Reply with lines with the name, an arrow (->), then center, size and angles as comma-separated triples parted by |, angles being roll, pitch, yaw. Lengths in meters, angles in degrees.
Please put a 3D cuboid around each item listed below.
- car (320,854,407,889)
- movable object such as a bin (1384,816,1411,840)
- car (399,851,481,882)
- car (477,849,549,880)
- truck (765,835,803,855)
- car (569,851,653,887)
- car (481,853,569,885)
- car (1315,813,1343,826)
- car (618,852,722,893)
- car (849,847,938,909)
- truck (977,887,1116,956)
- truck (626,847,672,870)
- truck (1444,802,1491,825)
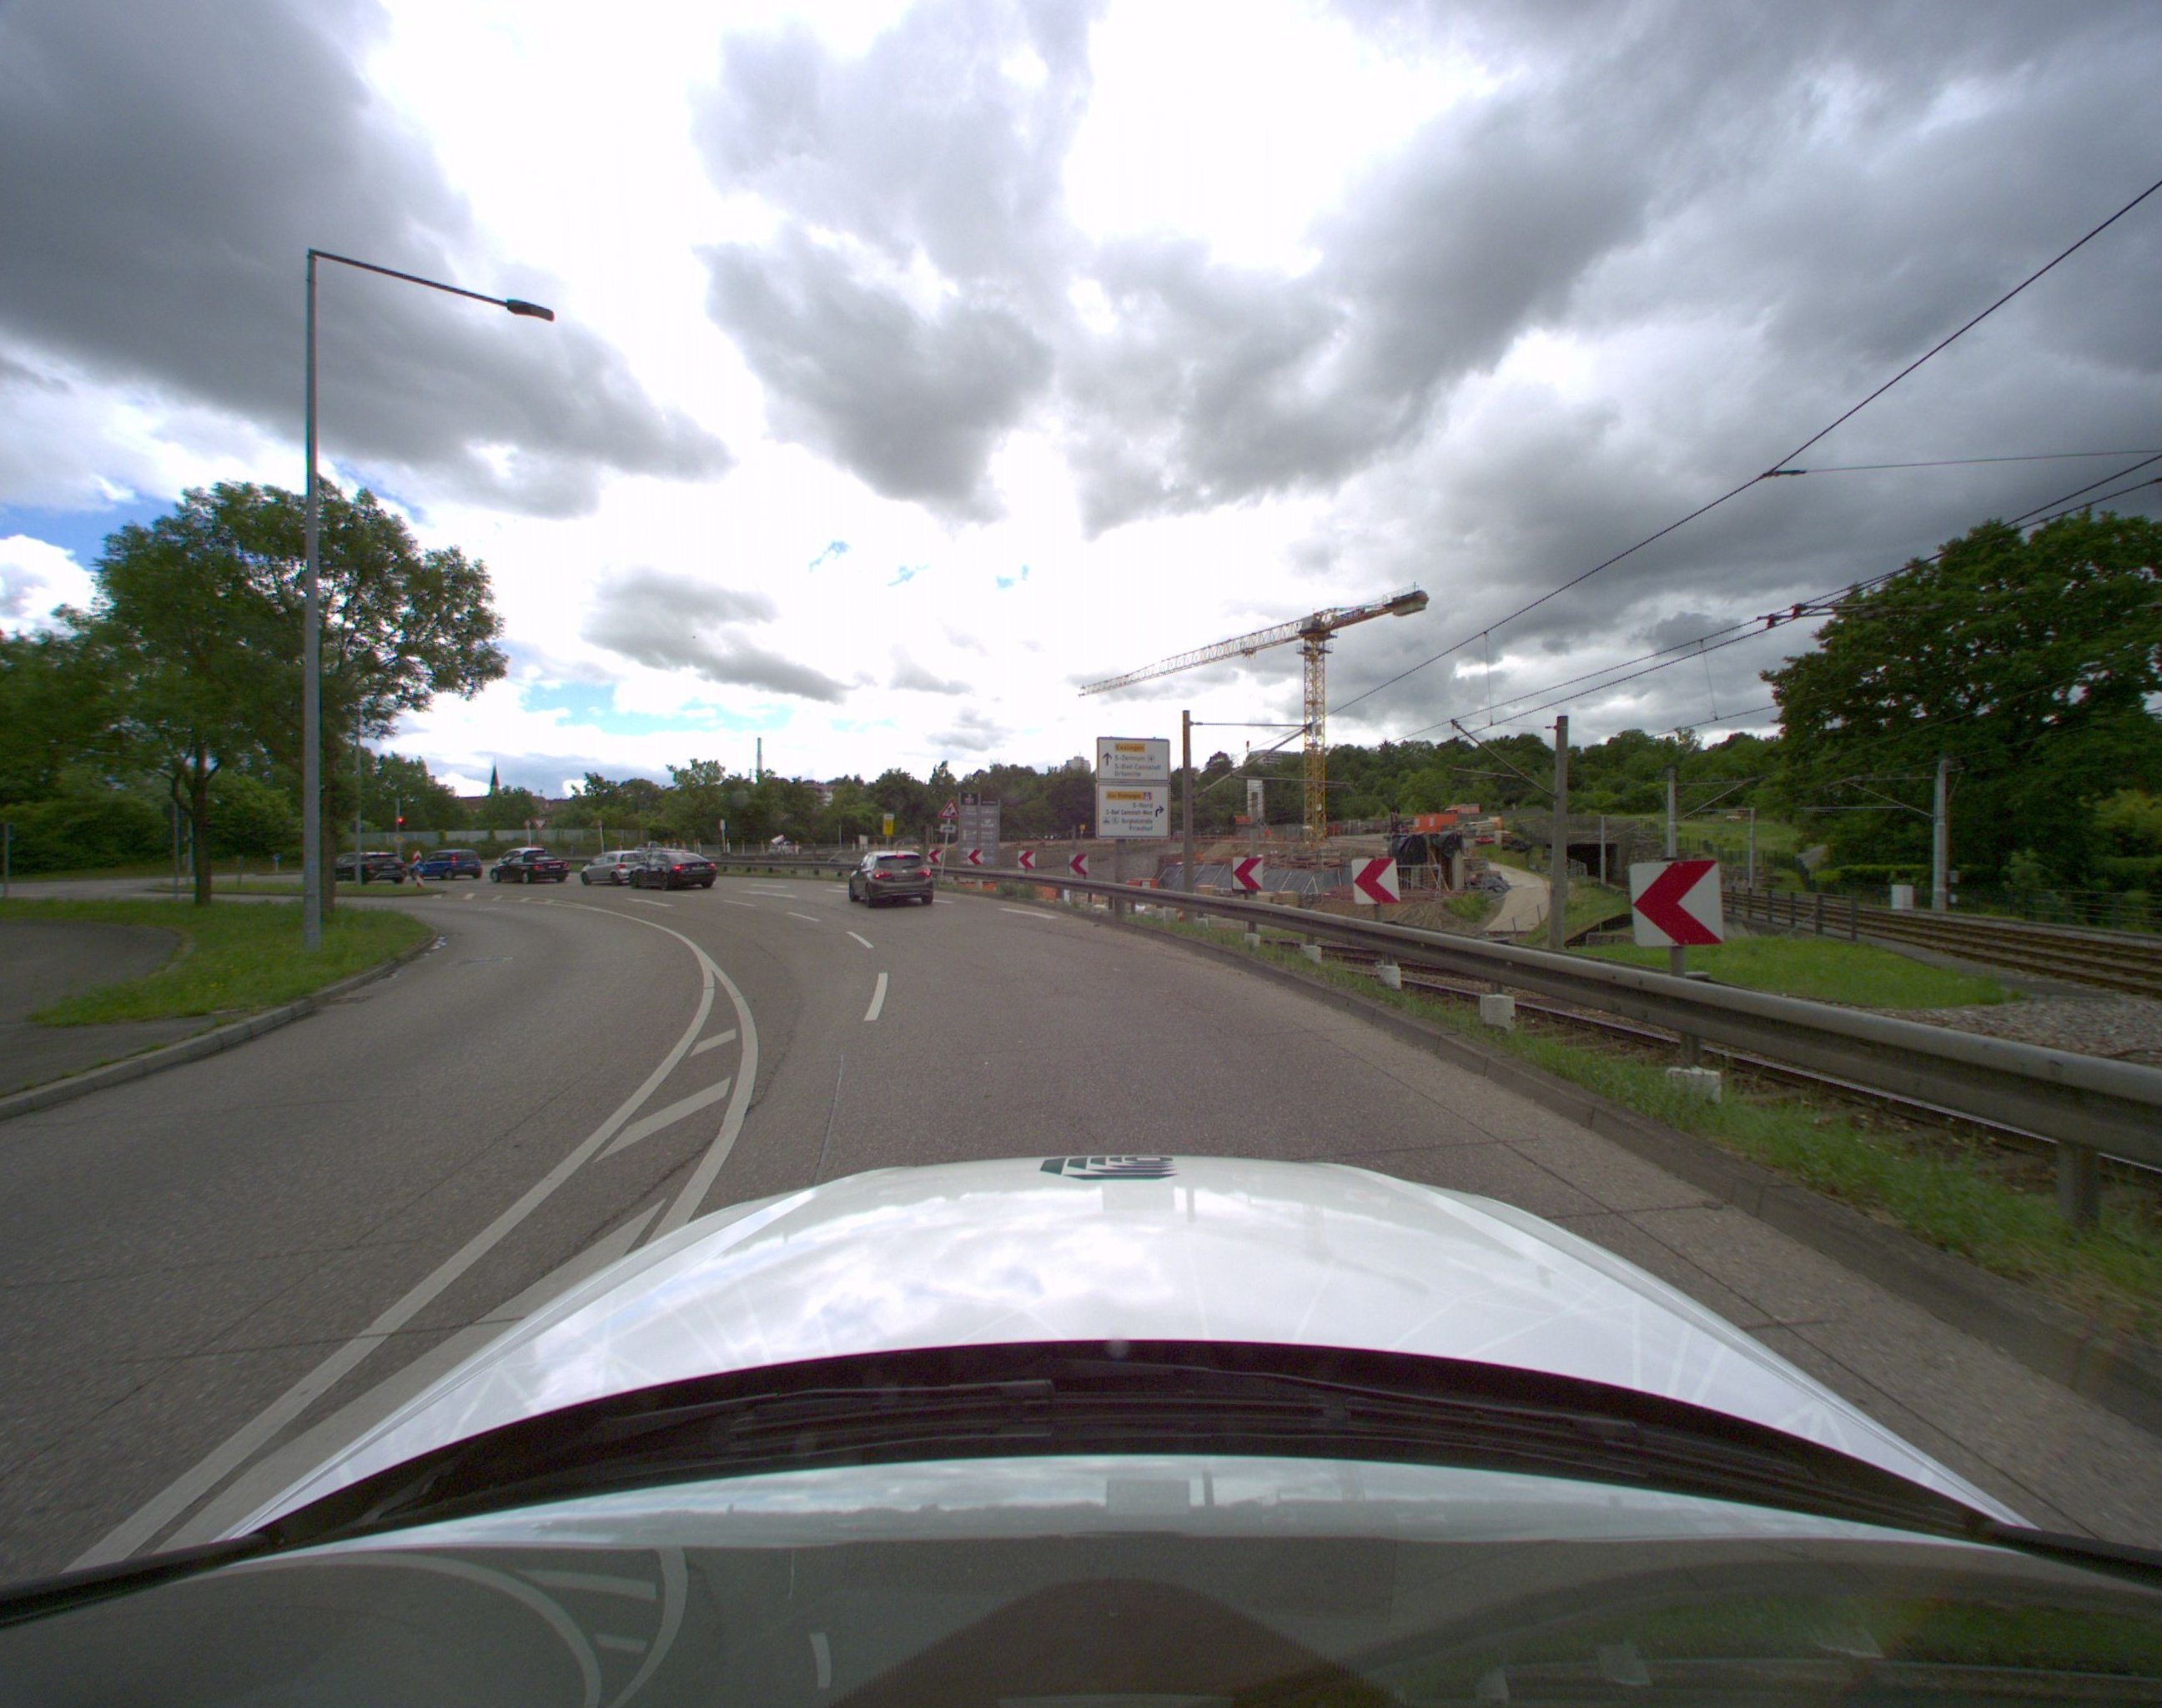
car -> -34.477, 0.807, 39.131 | 3.723, 1.507, 1.671 | 0, 4, 25
movable object such as a bin -> 42.131, -3.439, 108.381 | 1.845, 3.077, 2.776 | -1, -1, -27
car -> -33.094, 0.642, 42.056 | 3.344, 1.507, 1.555 | -1, 2, 15
car -> -32.833, 0.614, 47.051 | 3.949, 1.675, 1.727 | -1, 0, 27
truck -> -31.932, -0.954, 87.615 | 1.981, 2.014, 4.012 | 1, -1, 11
car -> -21.238, 0.659, 36.788 | 3.582, 1.469, 1.685 | 0, 4, 31
car -> -26.617, 0.739, 38.975 | 4.032, 1.367, 1.578 | -1, 3, 26
car -> 40.086, -5.612, 131.706 | 4.005, 2.014, 1.984 | -1, 0, -24
car -> -16.933, 0.707, 33.476 | 4.900, 1.476, 1.891 | 0, 3, 39
car -> -5.515, 0.618, 23.611 | 1.806, 1.552, 3.969 | -2, 2, -24
truck -> -2.759, 4.705, 59.131 | 11.475, 3.893, 2.864 | 2, 2, 43
truck -> -37.954, 0.423, 71.640 | 1.721, 2.014, 3.241 | 1, -1, 18
truck -> 74.534, -7.797, 157.037 | 9.820, 4.220, 3.091 | -1, 1, -29
